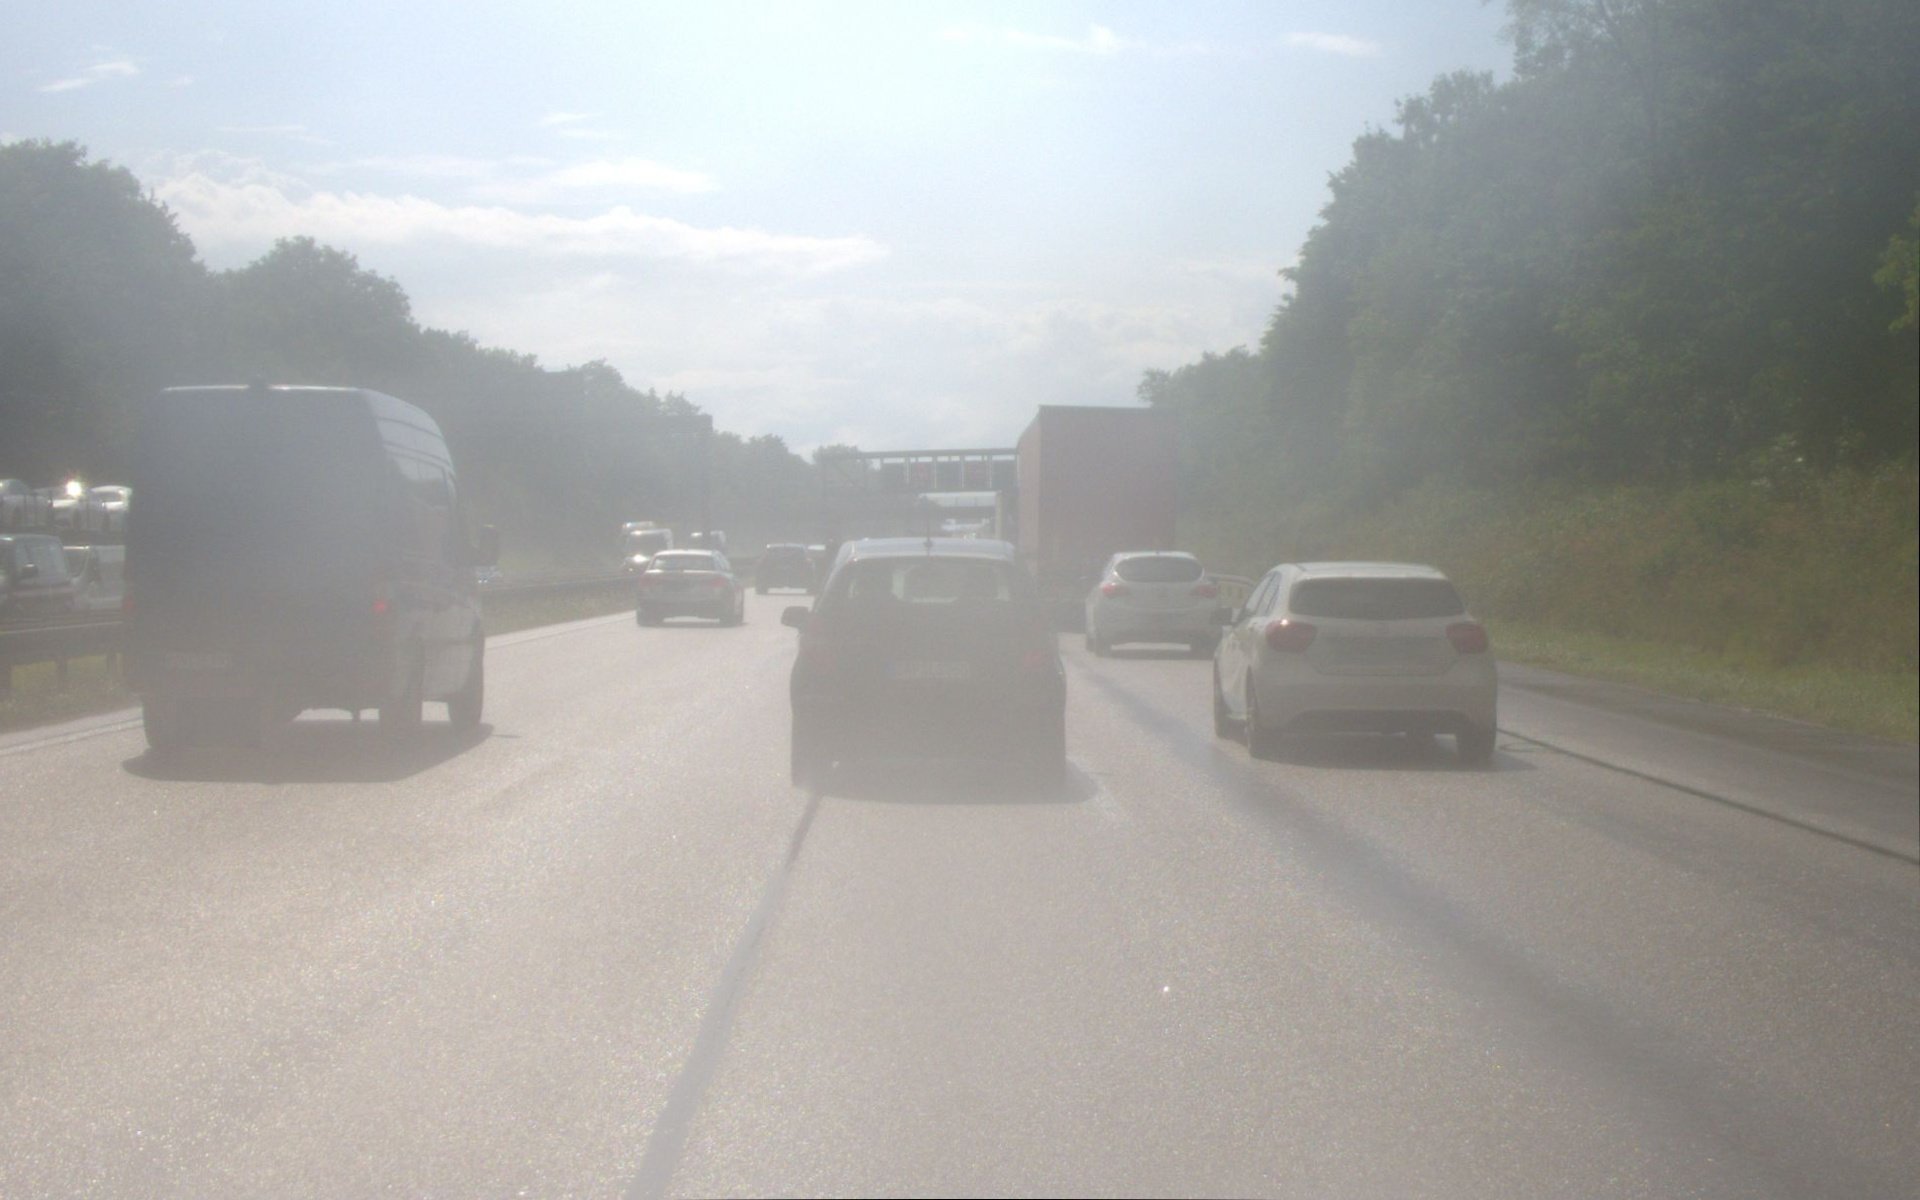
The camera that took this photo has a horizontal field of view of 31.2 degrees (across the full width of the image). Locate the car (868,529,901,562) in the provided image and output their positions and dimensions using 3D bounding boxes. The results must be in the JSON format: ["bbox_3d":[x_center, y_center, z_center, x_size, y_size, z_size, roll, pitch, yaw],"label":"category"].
[{"bbox_3d":[-4.630,-3.344,211.451,1.993,2.007,4.000,-1,1,-1],"label":"car"}]

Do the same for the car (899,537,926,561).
[{"bbox_3d":[-3.503,-3.762,254.200,1.993,1.722,4.000,0,1,0],"label":"car"}]

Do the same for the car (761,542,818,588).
[{"bbox_3d":[-5.500,-1.148,111.283,1.751,1.452,3.390,1,1,-1],"label":"car"}]

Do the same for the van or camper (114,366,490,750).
[{"bbox_3d":[-4.962,-0.330,26.701,1.993,2.659,5.385,1,1,-1],"label":"van or camper"}]

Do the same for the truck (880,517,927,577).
[{"bbox_3d":[-2.774,-2.577,167.738,2.192,2.865,4.850,1,1,-1],"label":"truck"}]

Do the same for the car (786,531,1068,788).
[{"bbox_3d":[-0.246,0.343,22.884,1.717,1.562,3.485,1,1,-1],"label":"car"}]

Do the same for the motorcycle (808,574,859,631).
[{"bbox_3d":[-2.308,0.030,62.912,0.890,0.997,2.896,1,1,-1],"label":"motorcycle"}]

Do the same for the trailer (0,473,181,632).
[{"bbox_3d":[-24.439,-1.292,91.729,2.990,3.818,17.952,1,1,1],"label":"trailer"}]

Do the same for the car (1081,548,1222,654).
[{"bbox_3d":[2.698,-0.017,49.100,1.680,1.437,3.905,1,1,-1],"label":"car"}]

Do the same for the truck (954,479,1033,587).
[{"bbox_3d":[1.426,-2.862,149.670,3.256,4.464,12.421,1,1,0],"label":"truck"}]

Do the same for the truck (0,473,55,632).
[{"bbox_3d":[-24.472,-1.185,83.659,2.990,3.818,6.864,1,1,1],"label":"truck"}]

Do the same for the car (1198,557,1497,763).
[{"bbox_3d":[2.869,0.395,26.272,1.692,1.420,4.220,1,1,-1],"label":"car"}]

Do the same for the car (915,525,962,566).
[{"bbox_3d":[-0.764,-1.890,119.461,1.552,1.378,3.210,1,1,-1],"label":"car"}]

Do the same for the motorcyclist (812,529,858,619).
[{"bbox_3d":[-2.285,-0.483,62.861,0.801,1.627,1.013,1,1,-1],"label":"motorcyclist"}]

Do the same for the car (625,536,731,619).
[{"bbox_3d":[-5.446,-0.444,66.703,1.854,1.546,3.485,1,1,-1],"label":"car"}]

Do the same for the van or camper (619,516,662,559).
[{"bbox_3d":[-22.538,-4.393,242.691,2.500,2.911,7.139,1,1,-1],"label":"van or camper"}]

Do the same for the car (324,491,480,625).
[{"bbox_3d":[-10.664,-0.808,66.104,2.183,2.444,5.748,1,1,-1],"label":"car"}]

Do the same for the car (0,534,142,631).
[{"bbox_3d":[-18.688,-0.391,72.319,1.868,1.939,5.042,1,1,-1],"label":"car"}]

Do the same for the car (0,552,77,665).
[{"bbox_3d":[-15.053,0.086,52.889,1.845,1.657,4.663,1,1,-1],"label":"car"}]

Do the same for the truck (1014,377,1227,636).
[{"bbox_3d":[3.074,-1.827,71.397,3.650,4.704,16.779,1,1,0],"label":"truck"}]

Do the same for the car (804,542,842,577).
[{"bbox_3d":[-5.554,-1.666,139.628,1.460,1.389,3.312,1,1,-1],"label":"car"}]

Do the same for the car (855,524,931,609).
[{"bbox_3d":[-1.426,-0.710,72.652,1.531,1.740,3.485,1,1,-1],"label":"car"}]
